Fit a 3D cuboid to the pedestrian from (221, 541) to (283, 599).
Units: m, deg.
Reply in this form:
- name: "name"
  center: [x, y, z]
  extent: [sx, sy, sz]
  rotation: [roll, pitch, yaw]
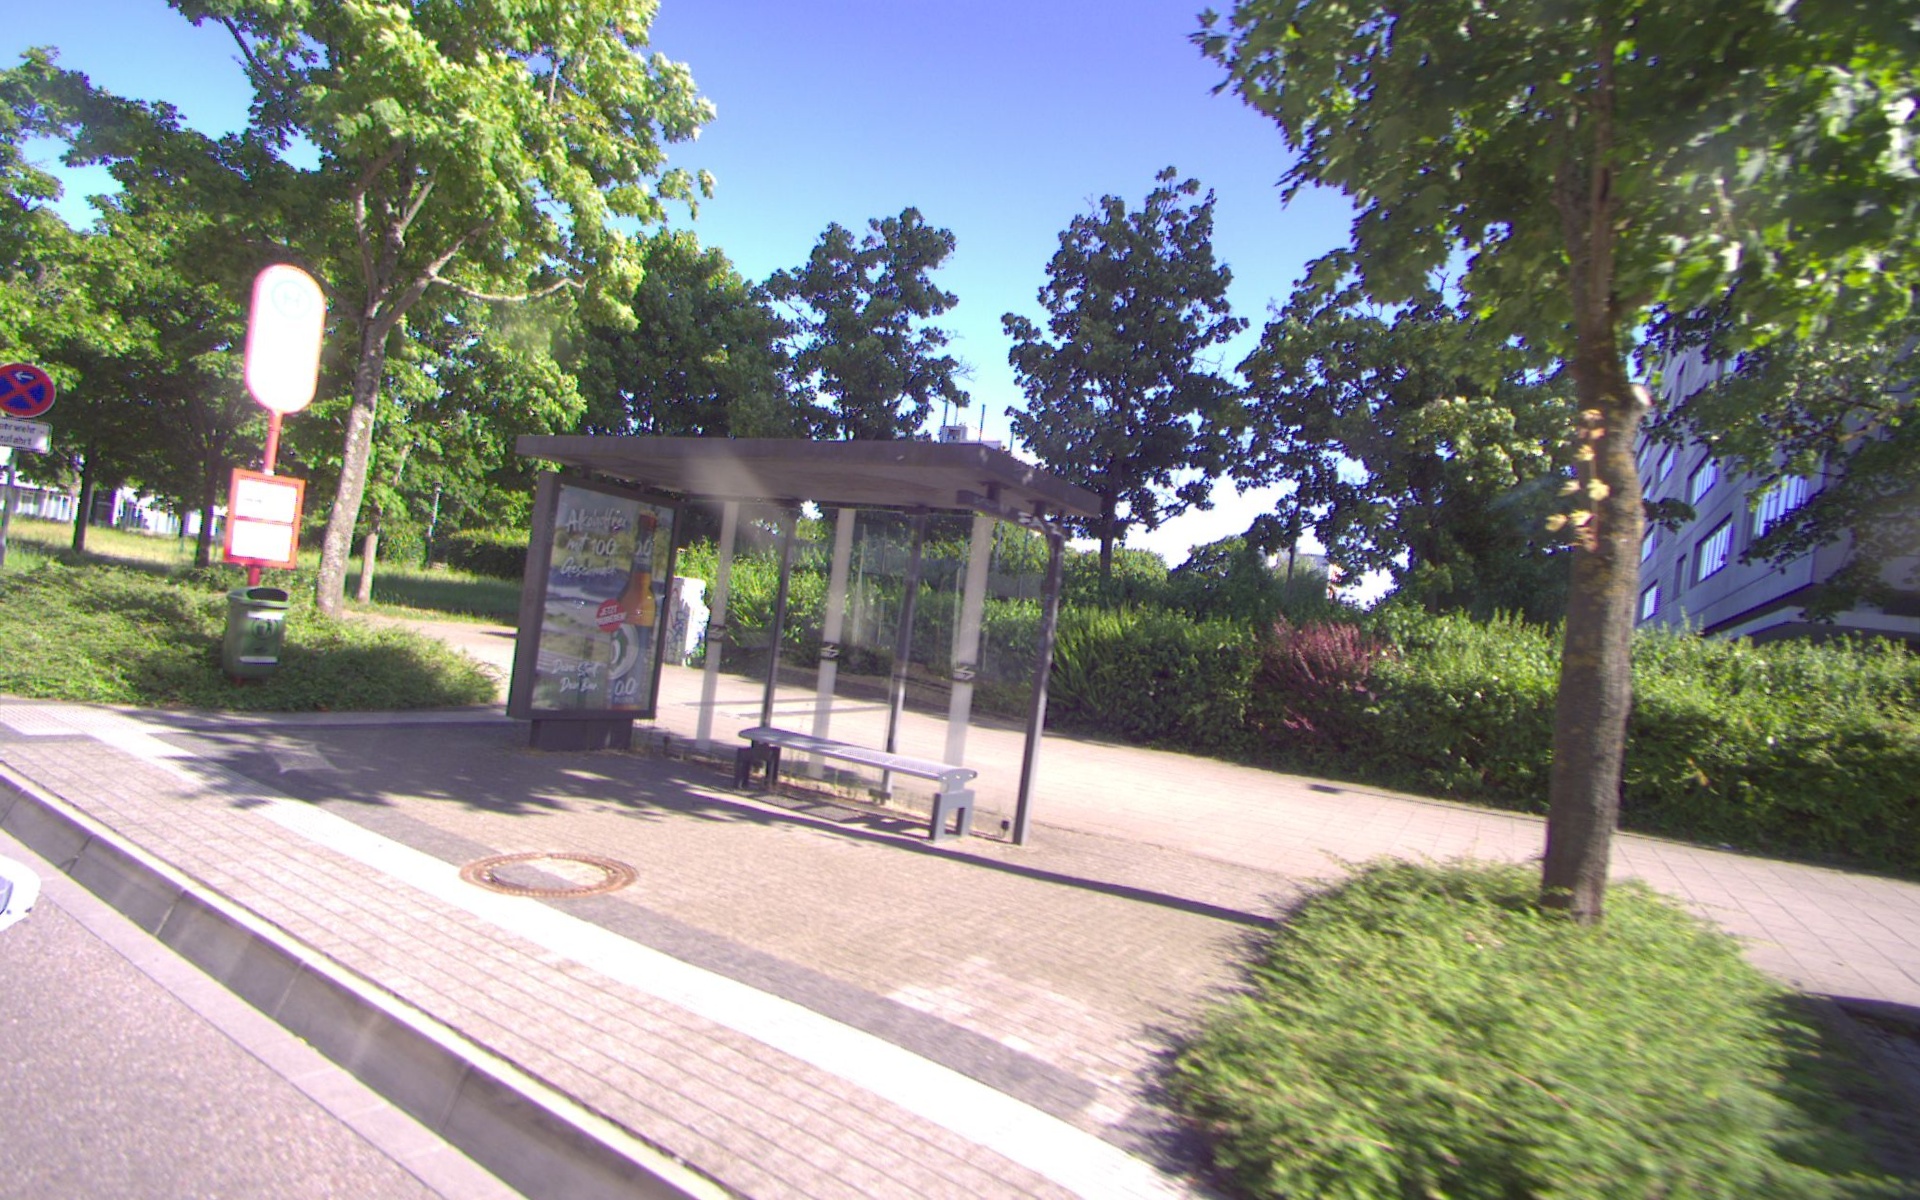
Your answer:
- name: "pedestrian"
  center: [-16.692, -0.707, 23.732]
  extent: [0.715, 1.232, 0.847]
  rotation: [7, 0, 17]

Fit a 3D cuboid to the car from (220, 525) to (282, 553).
- name: "car"
  center: [-60.974, -5.209, 86.571]
  extent: [1.667, 1.594, 3.869]
  rotation: [6, -5, 34]
